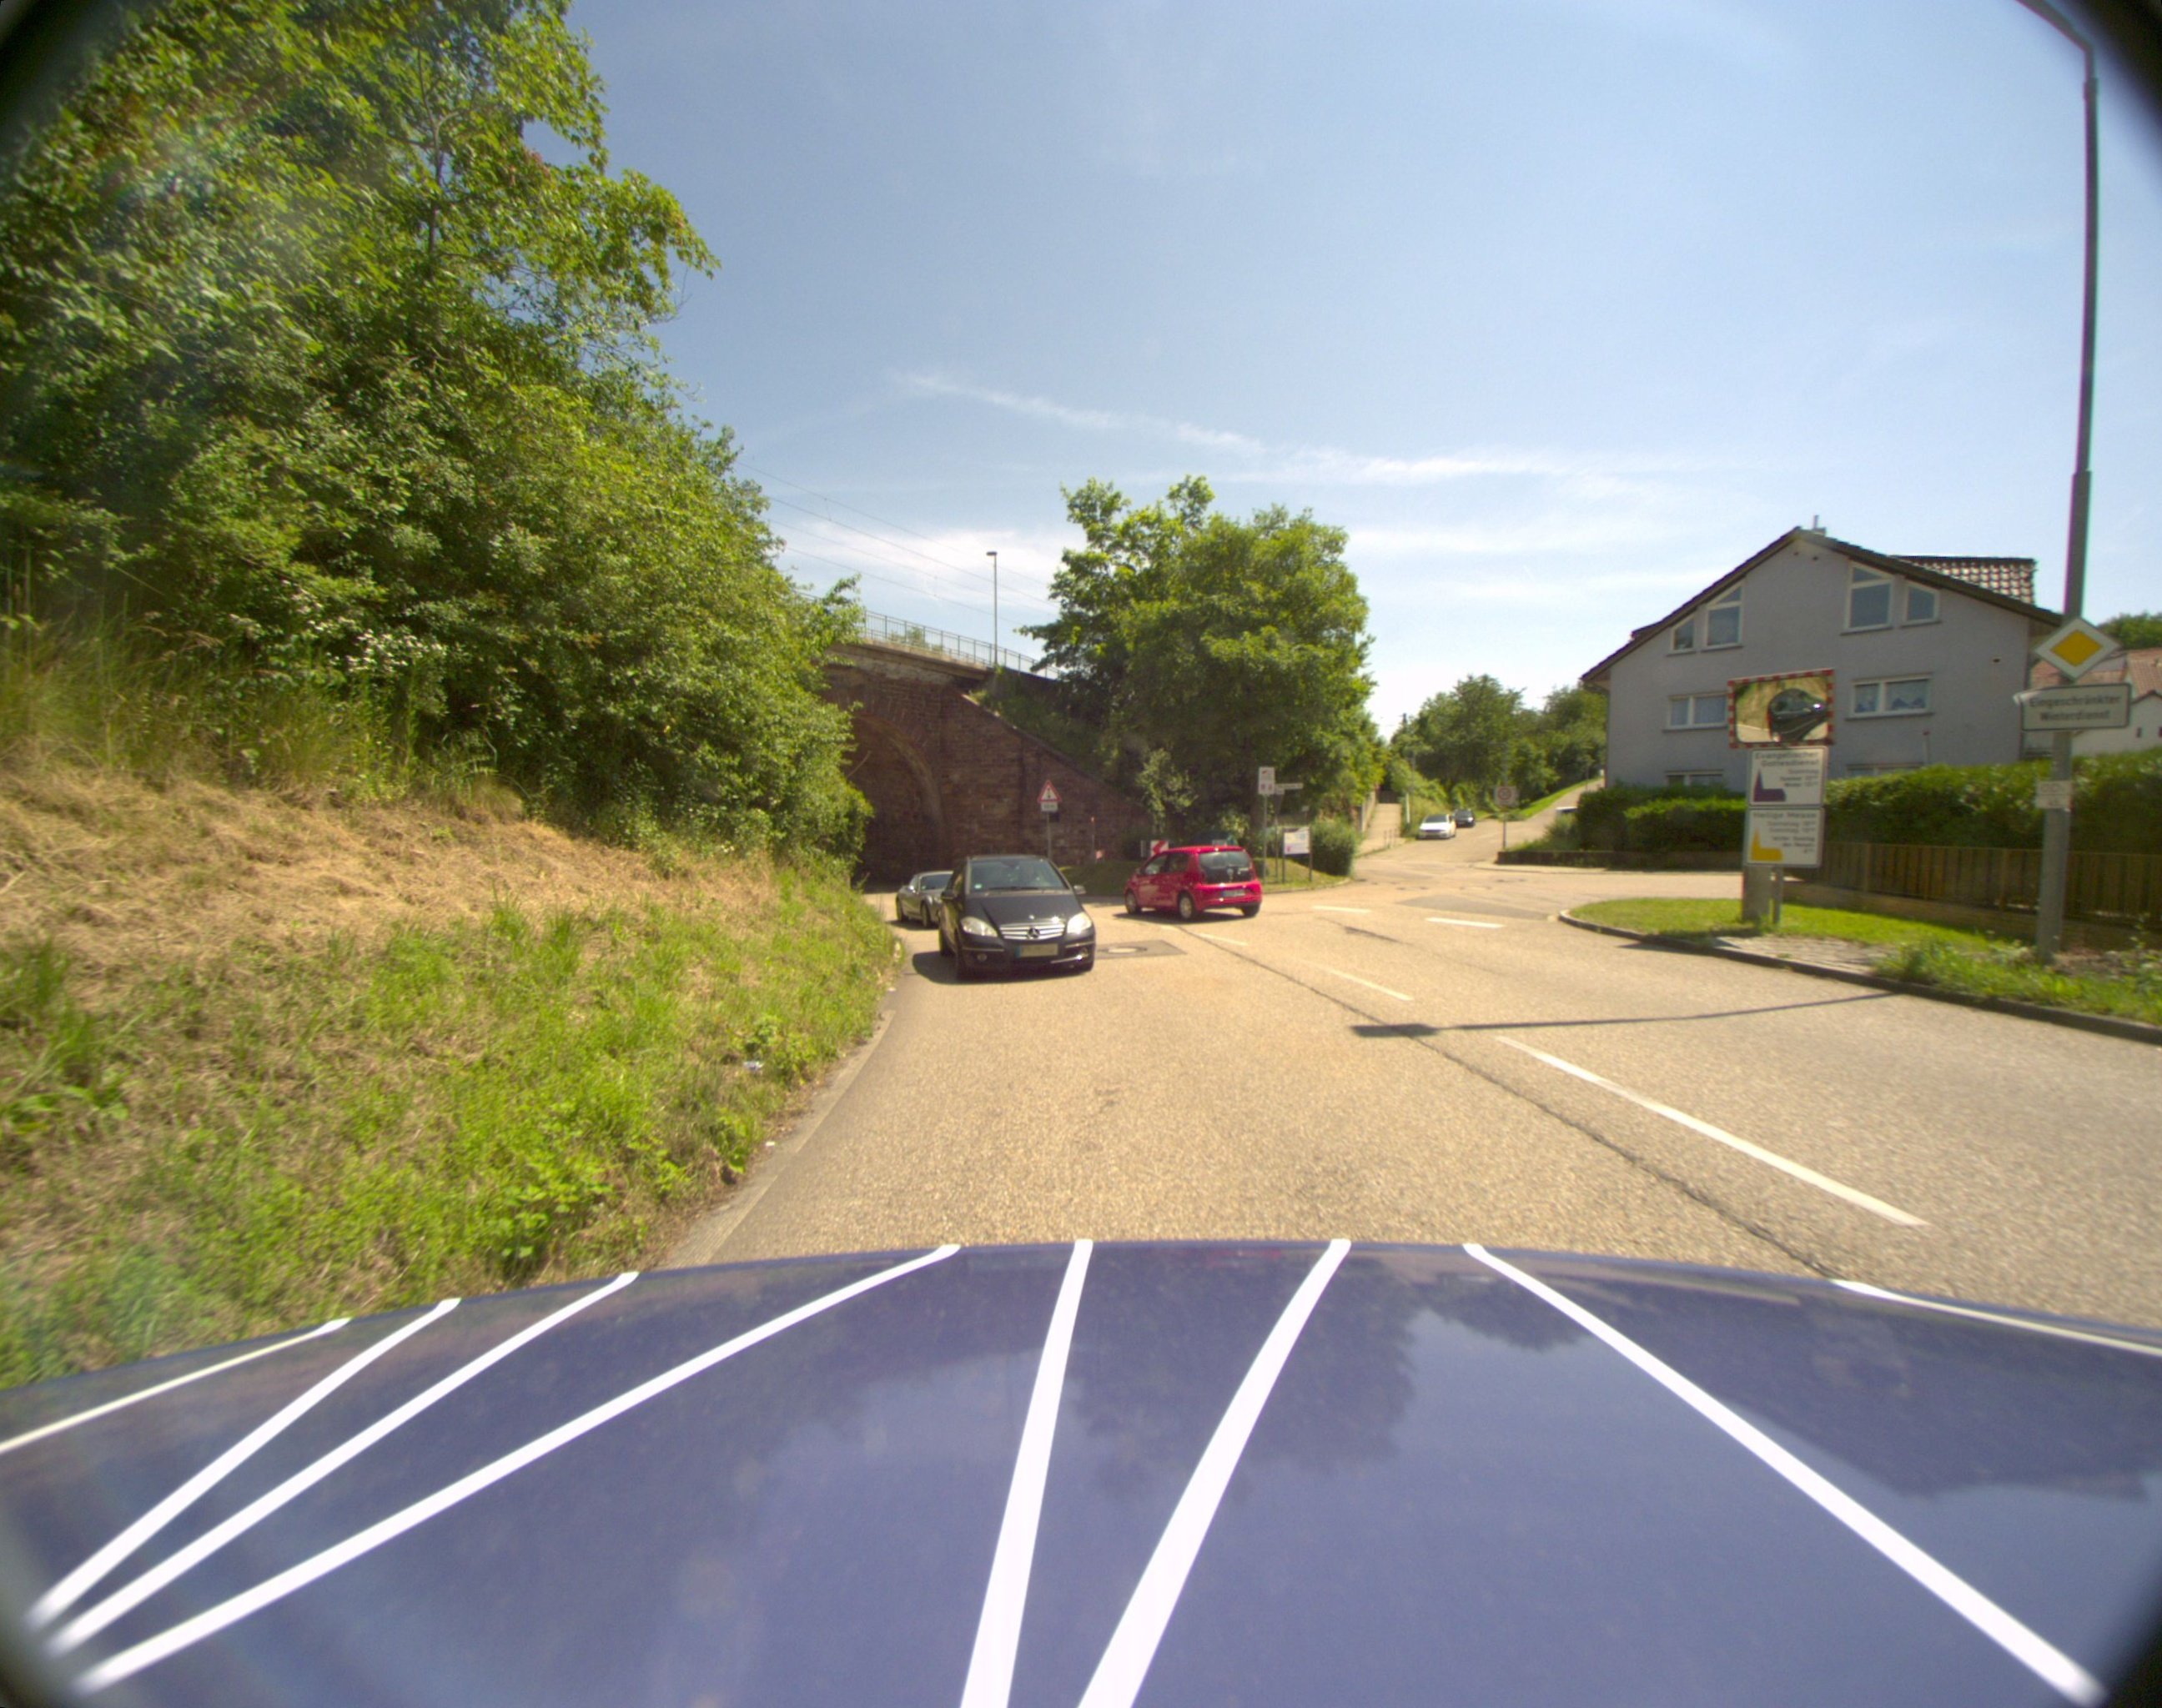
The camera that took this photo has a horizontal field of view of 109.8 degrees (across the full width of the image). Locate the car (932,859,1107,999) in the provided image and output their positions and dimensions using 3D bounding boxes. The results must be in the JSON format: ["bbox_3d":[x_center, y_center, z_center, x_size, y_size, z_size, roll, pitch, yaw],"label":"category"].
[{"bbox_3d":[-1.066,0.890,10.927,1.798,1.570,3.794,-1,0,-15],"label":"car"}]

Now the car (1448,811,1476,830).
[{"bbox_3d":[31.471,-2.793,62.859,1.747,1.382,4.003,-1,4,23],"label":"car"}]

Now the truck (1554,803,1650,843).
[{"bbox_3d":[30.043,-1.769,43.871,4.304,2.002,2.004,-3,1,40],"label":"truck"}]

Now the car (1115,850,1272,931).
[{"bbox_3d":[2.279,0.701,16.338,1.662,1.450,3.629,-3,1,-22],"label":"car"}]

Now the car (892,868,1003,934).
[{"bbox_3d":[-3.301,1.042,18.258,1.650,1.315,3.431,-4,1,-26],"label":"car"}]

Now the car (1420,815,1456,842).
[{"bbox_3d":[22.917,-1.637,48.825,1.995,1.499,4.004,-1,4,25],"label":"car"}]
